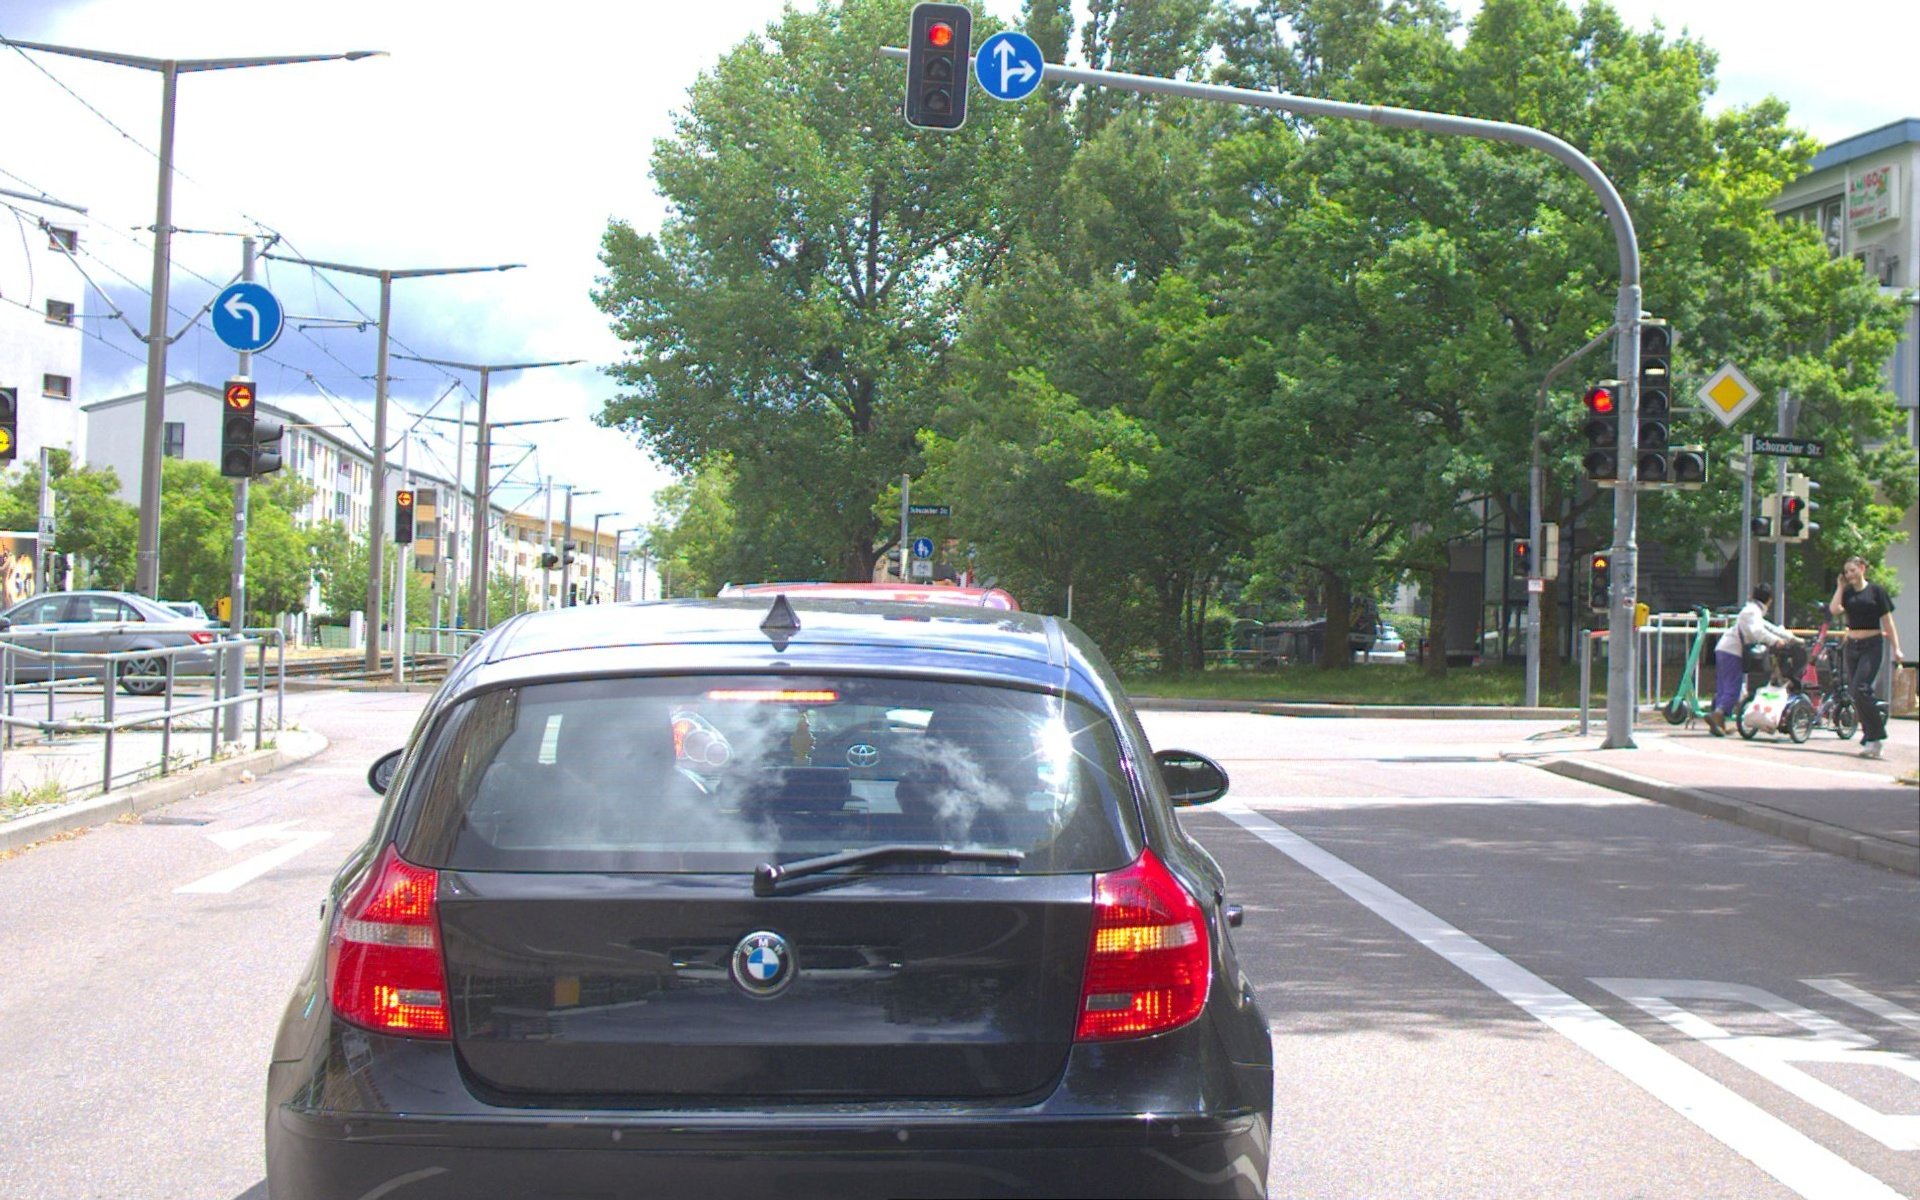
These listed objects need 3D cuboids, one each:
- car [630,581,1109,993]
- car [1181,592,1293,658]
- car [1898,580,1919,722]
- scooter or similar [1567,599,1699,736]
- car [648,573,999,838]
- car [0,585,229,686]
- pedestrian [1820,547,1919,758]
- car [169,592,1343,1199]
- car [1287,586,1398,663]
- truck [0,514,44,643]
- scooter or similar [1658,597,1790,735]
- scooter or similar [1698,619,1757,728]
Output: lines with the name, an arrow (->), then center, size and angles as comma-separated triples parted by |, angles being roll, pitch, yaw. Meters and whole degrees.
car -> -0.334, 0.639, 13.635 | 1.638, 1.395, 3.420 | 1, 0, -1
car -> 7.272, 0.650, 90.686 | 1.862, 1.656, 4.001 | 1, 0, -11
car -> 15.800, 0.695, 48.450 | 4.534, 2.007, 2.000 | -1, 0, -8
scooter or similar -> 6.224, 0.618, 31.814 | 1.110, 1.231, 0.539 | 1, 0, 2
car -> -0.776, 0.559, 21.104 | 1.900, 1.417, 4.539 | 1, 0, -1
car -> -12.397, 0.470, 47.272 | 4.443, 1.324, 1.679 | 1, 0, -7
pedestrian -> 8.160, 0.465, 30.824 | 0.636, 1.870, 0.518 | 1, 0, -24
car -> -0.321, 0.706, 6.731 | 1.700, 1.395, 3.420 | 1, 0, -1
car -> 9.616, 0.591, 86.685 | 1.726, 1.865, 4.001 | 1, 0, -9
truck -> -24.416, -0.543, 84.612 | 2.281, 3.107, 7.319 | 1, 0, -5
scooter or similar -> 7.306, 0.625, 32.919 | 1.151, 1.268, 0.555 | 2, 0, 7
scooter or similar -> 7.794, 0.733, 34.903 | 0.548, 1.060, 1.261 | 1, 0, 13
